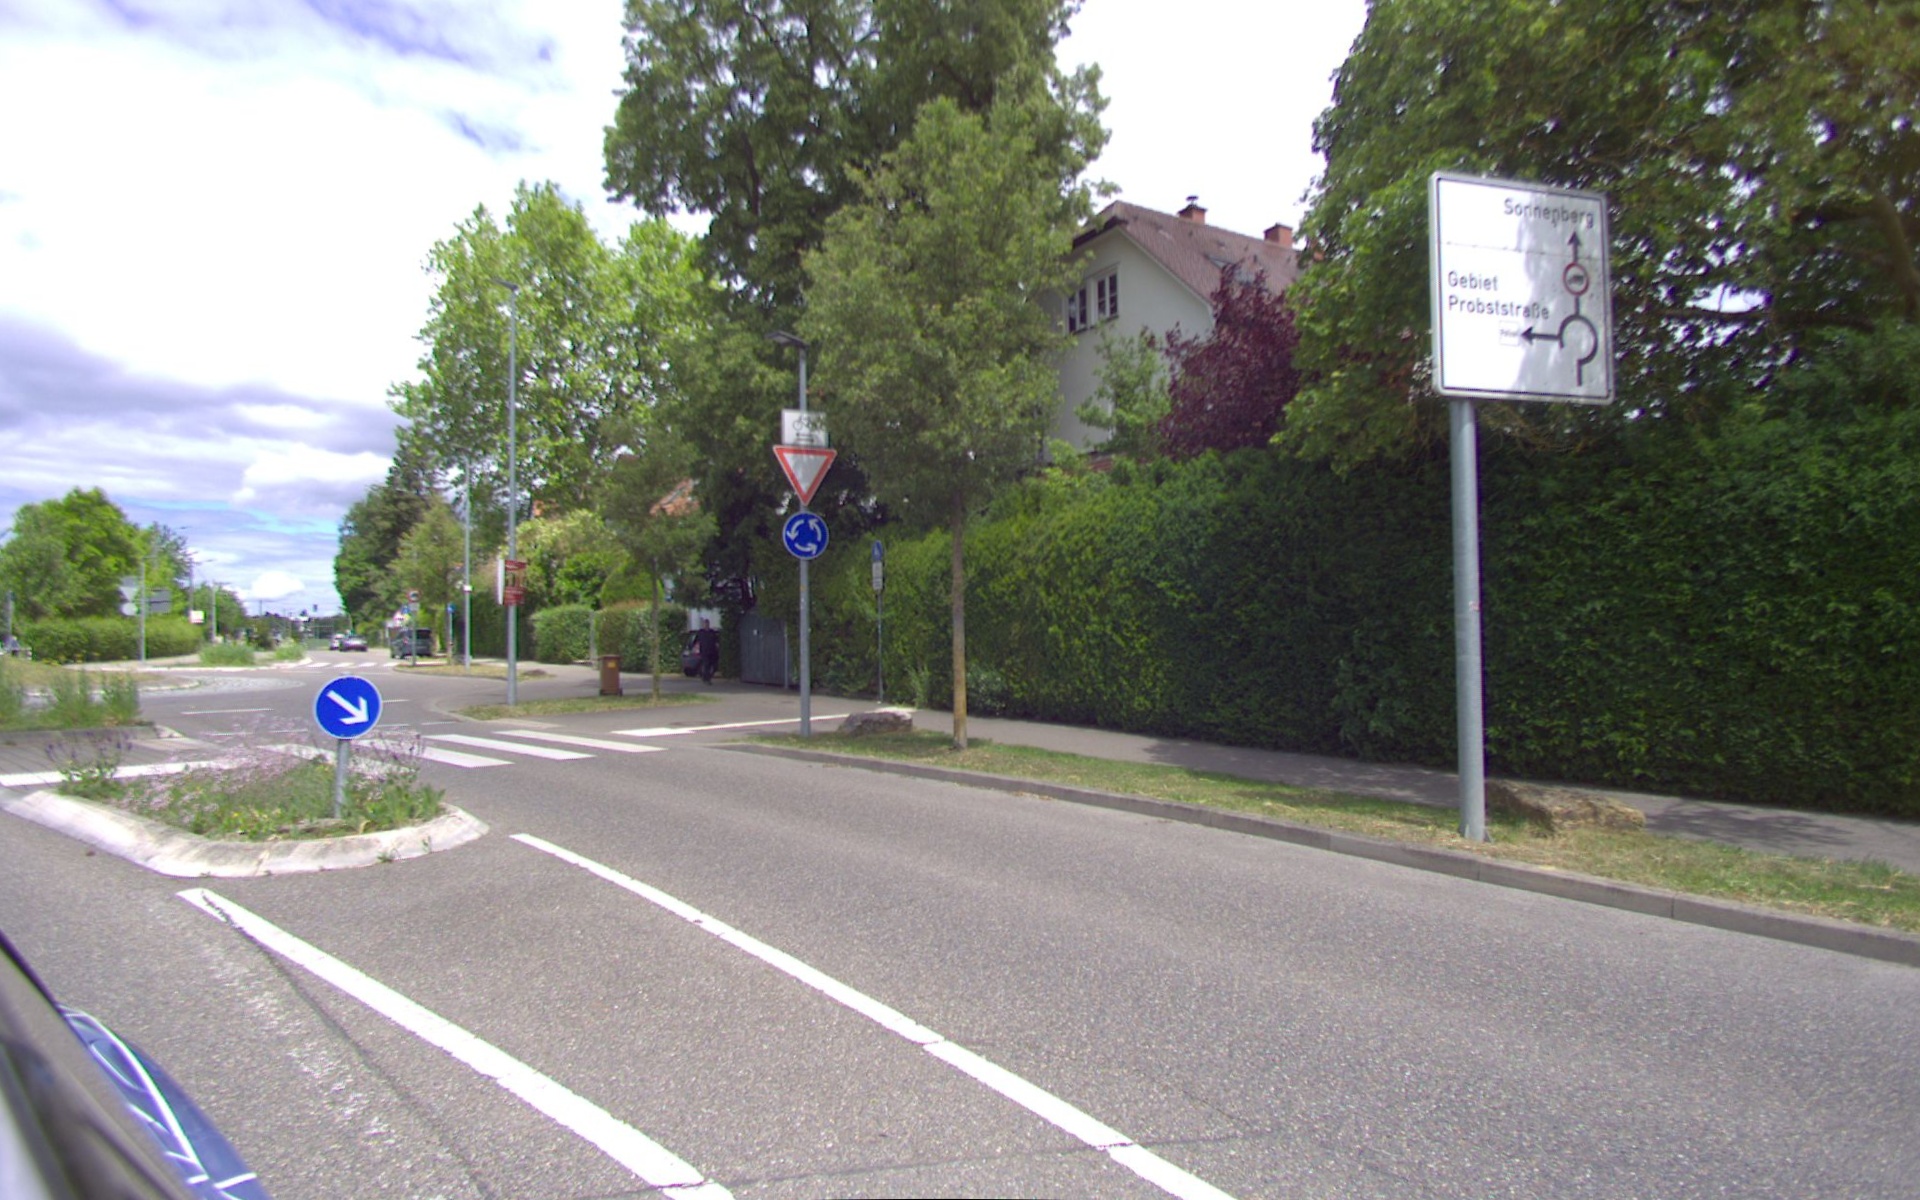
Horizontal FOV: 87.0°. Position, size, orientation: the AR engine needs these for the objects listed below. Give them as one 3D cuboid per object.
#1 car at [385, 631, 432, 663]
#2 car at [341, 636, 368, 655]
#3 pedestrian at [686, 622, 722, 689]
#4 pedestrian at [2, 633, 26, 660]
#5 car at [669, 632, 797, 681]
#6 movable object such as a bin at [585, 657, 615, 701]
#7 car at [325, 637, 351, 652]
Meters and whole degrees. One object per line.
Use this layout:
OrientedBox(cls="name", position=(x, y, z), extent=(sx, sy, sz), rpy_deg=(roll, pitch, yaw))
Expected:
OrientedBox(cls="car", position=(-31.086, 2.614, 57.006), extent=(1.654, 1.674, 4.008), rpy_deg=(1, -2, -38))
OrientedBox(cls="car", position=(-53.379, 4.000, 89.211), extent=(1.832, 1.589, 4.011), rpy_deg=(0, -1, -33))
OrientedBox(cls="pedestrian", position=(-6.703, 1.444, 26.511), extent=(0.733, 1.704, 0.696), rpy_deg=(0, -1, -32))
OrientedBox(cls="pedestrian", position=(-55.547, 2.748, 59.422), extent=(0.597, 1.569, 0.760), rpy_deg=(0, -2, 18))
OrientedBox(cls="car", position=(-7.138, 1.789, 31.932), extent=(3.518, 1.408, 1.670), rpy_deg=(4, -3, -33))
OrientedBox(cls="movable object such as a bin", position=(-7.913, 1.728, 22.252), extent=(0.410, 0.942, 0.437), rpy_deg=(-1, -3, 28))
OrientedBox(cls="car", position=(-70.738, 5.040, 115.116), extent=(1.968, 1.719, 4.008), rpy_deg=(2, -3, -38))
